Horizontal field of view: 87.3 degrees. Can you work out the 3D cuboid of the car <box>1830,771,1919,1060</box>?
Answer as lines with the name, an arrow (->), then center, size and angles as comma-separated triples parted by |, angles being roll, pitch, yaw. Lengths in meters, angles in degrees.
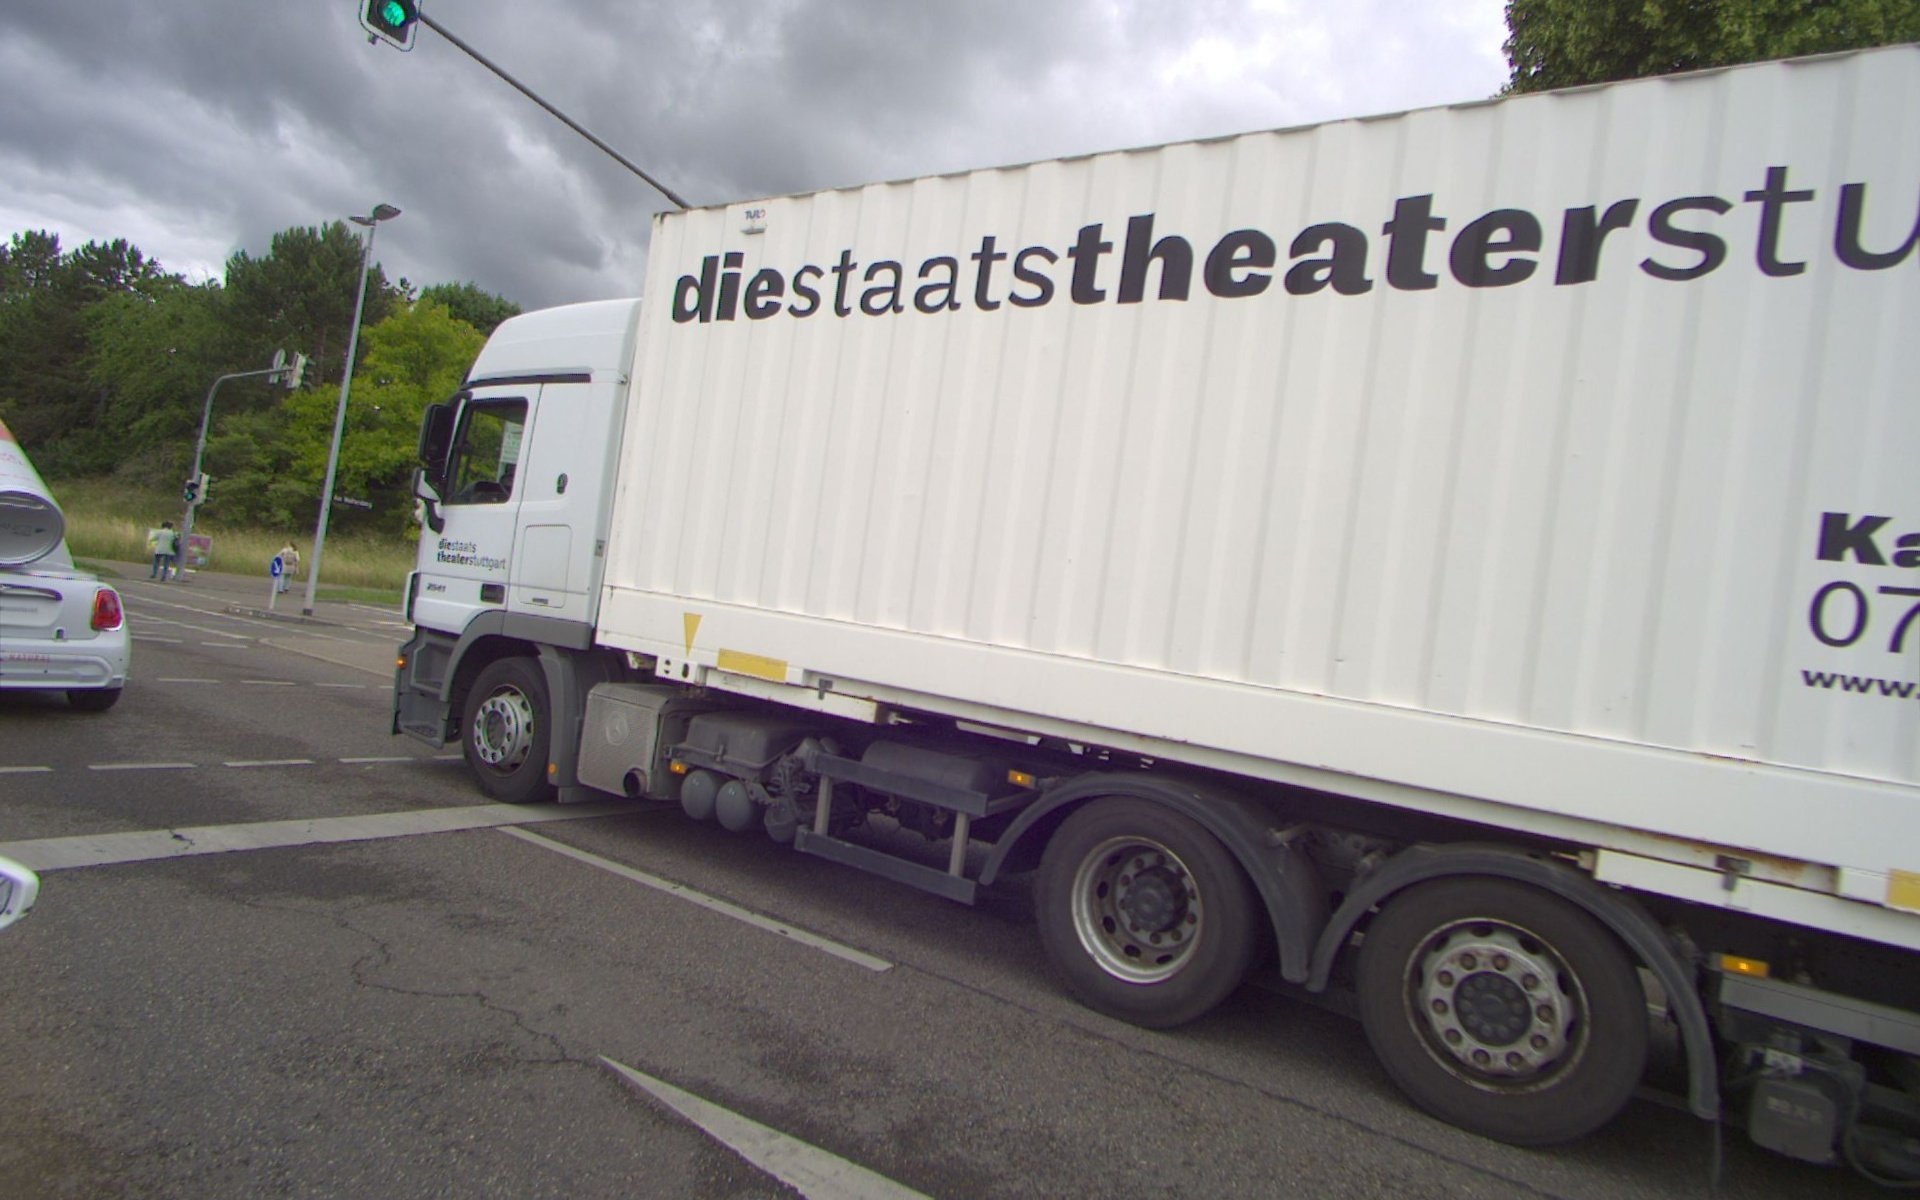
car -> 7.063, 2.005, 5.319 | 3.511, 1.524, 1.603 | 6, -2, 38

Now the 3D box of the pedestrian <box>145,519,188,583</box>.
pedestrian -> -22.311, -1.389, 28.276 | 0.703, 1.681, 0.644 | 6, -1, 39

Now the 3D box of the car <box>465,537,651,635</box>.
car -> -14.031, -0.407, 35.555 | 1.968, 2.660, 5.814 | 6, -2, 34

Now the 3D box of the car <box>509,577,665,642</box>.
car -> -10.642, 0.310, 28.965 | 1.669, 1.353, 3.882 | 6, -3, 34

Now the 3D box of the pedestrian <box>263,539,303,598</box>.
pedestrian -> -20.219, -0.945, 30.041 | 0.703, 1.630, 0.644 | 6, -1, 37

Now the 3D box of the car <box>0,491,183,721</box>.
car -> -7.785, -0.129, 7.618 | 3.437, 1.523, 1.824 | 7, -1, 32

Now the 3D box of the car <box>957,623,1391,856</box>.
car -> 2.060, 1.362, 10.861 | 1.752, 1.673, 4.325 | 10, -3, -37

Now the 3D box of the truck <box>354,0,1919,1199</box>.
truck -> 0.924, -0.323, 5.631 | 10.013, 3.949, 2.808 | 7, -1, 32
